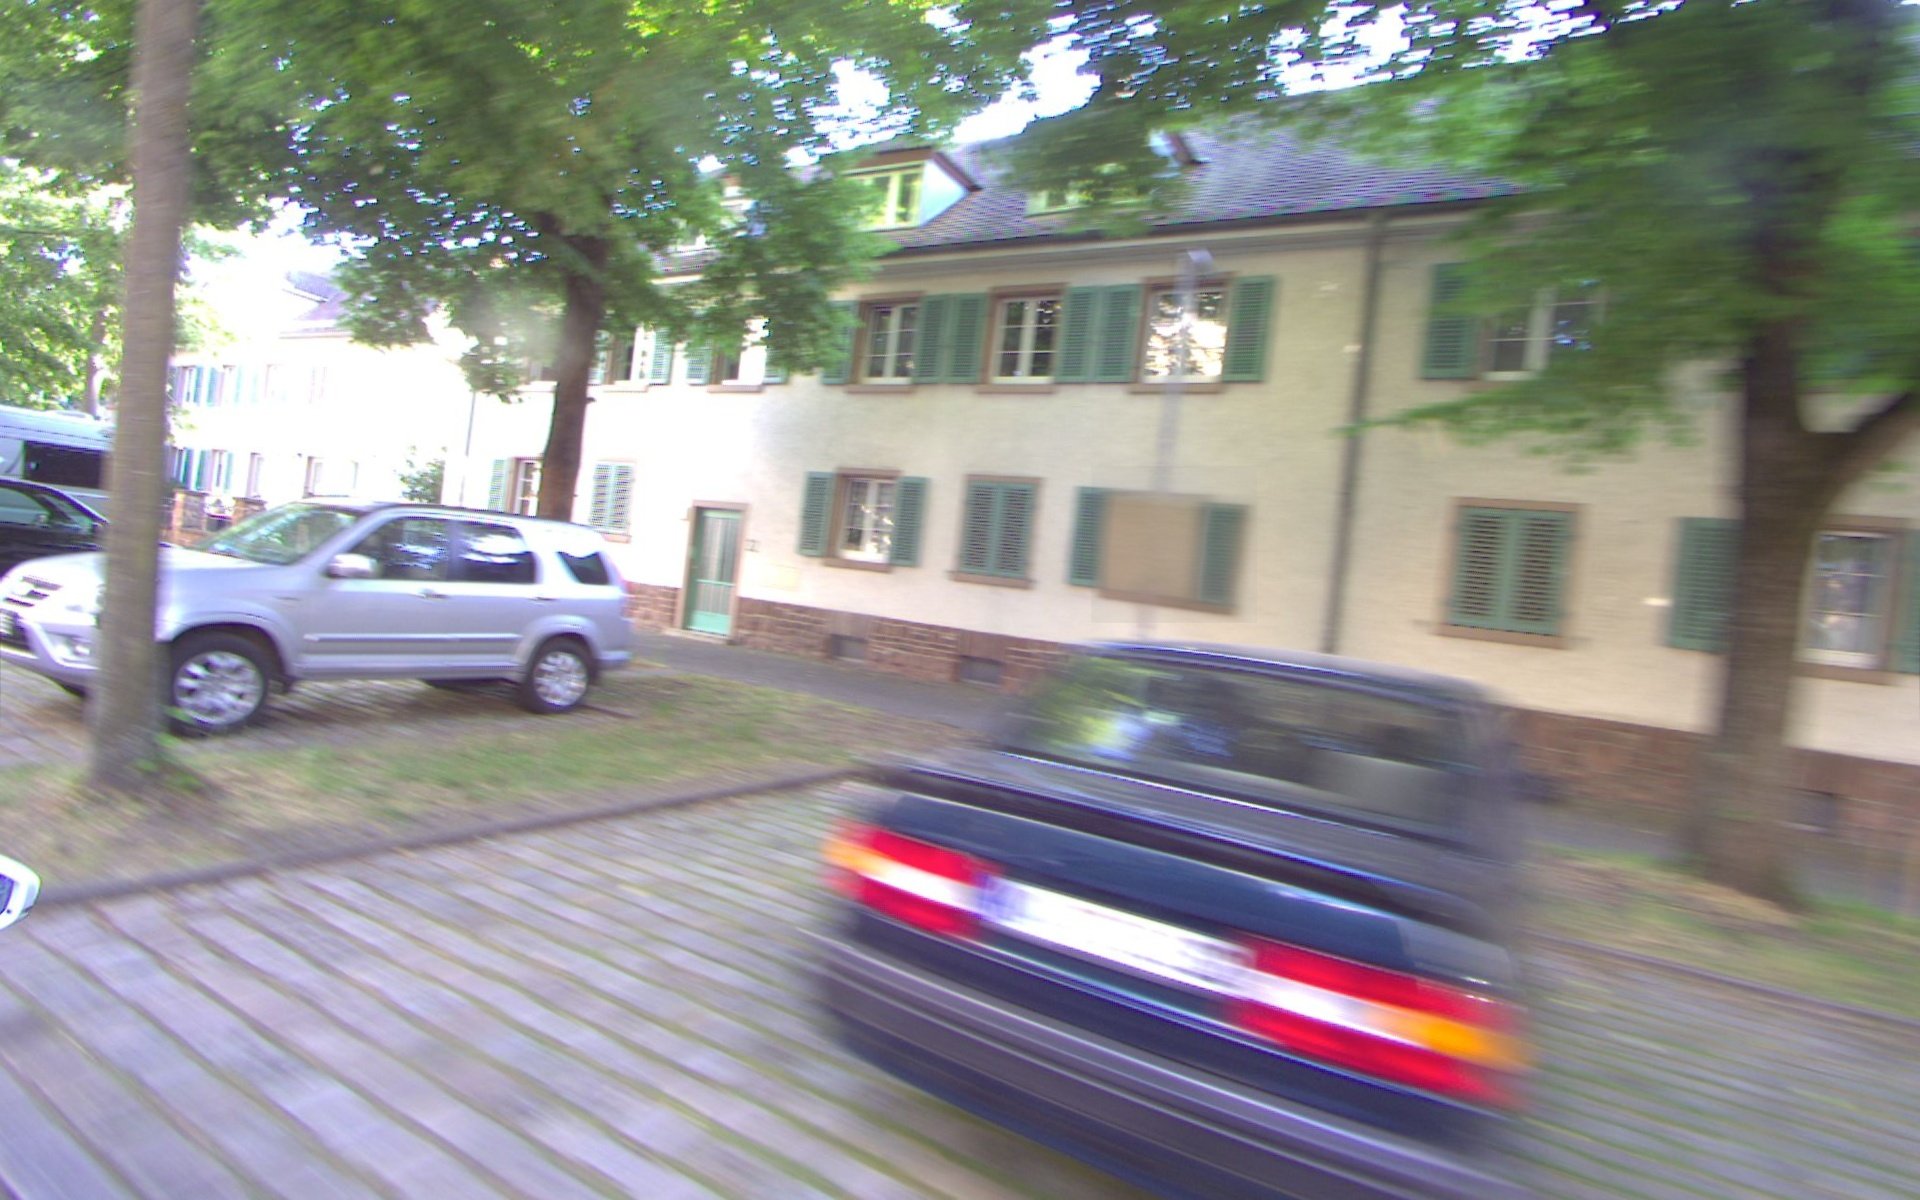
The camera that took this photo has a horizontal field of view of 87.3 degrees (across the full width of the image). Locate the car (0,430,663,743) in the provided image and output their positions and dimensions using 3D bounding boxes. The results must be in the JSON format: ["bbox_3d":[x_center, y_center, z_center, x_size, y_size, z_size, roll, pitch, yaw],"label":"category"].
[{"bbox_3d":[-4.761,-0.106,7.921,1.909,1.692,4.479,8,2,29],"label":"car"}]

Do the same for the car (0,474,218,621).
[{"bbox_3d":[-10.850,-0.651,11.372,1.722,1.491,3.505,6,0,30],"label":"car"}]

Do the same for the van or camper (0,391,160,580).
[{"bbox_3d":[-14.992,-1.789,13.961,2.230,2.569,5.580,6,1,29],"label":"van or camper"}]

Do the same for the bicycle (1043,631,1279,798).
[{"bbox_3d":[1.832,1.004,9.199,1.899,1.177,0.630,8,0,23],"label":"bicycle"}]

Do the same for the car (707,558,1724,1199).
[{"bbox_3d":[1.432,0.807,4.165,1.909,1.460,4.899,6,1,29],"label":"car"}]
